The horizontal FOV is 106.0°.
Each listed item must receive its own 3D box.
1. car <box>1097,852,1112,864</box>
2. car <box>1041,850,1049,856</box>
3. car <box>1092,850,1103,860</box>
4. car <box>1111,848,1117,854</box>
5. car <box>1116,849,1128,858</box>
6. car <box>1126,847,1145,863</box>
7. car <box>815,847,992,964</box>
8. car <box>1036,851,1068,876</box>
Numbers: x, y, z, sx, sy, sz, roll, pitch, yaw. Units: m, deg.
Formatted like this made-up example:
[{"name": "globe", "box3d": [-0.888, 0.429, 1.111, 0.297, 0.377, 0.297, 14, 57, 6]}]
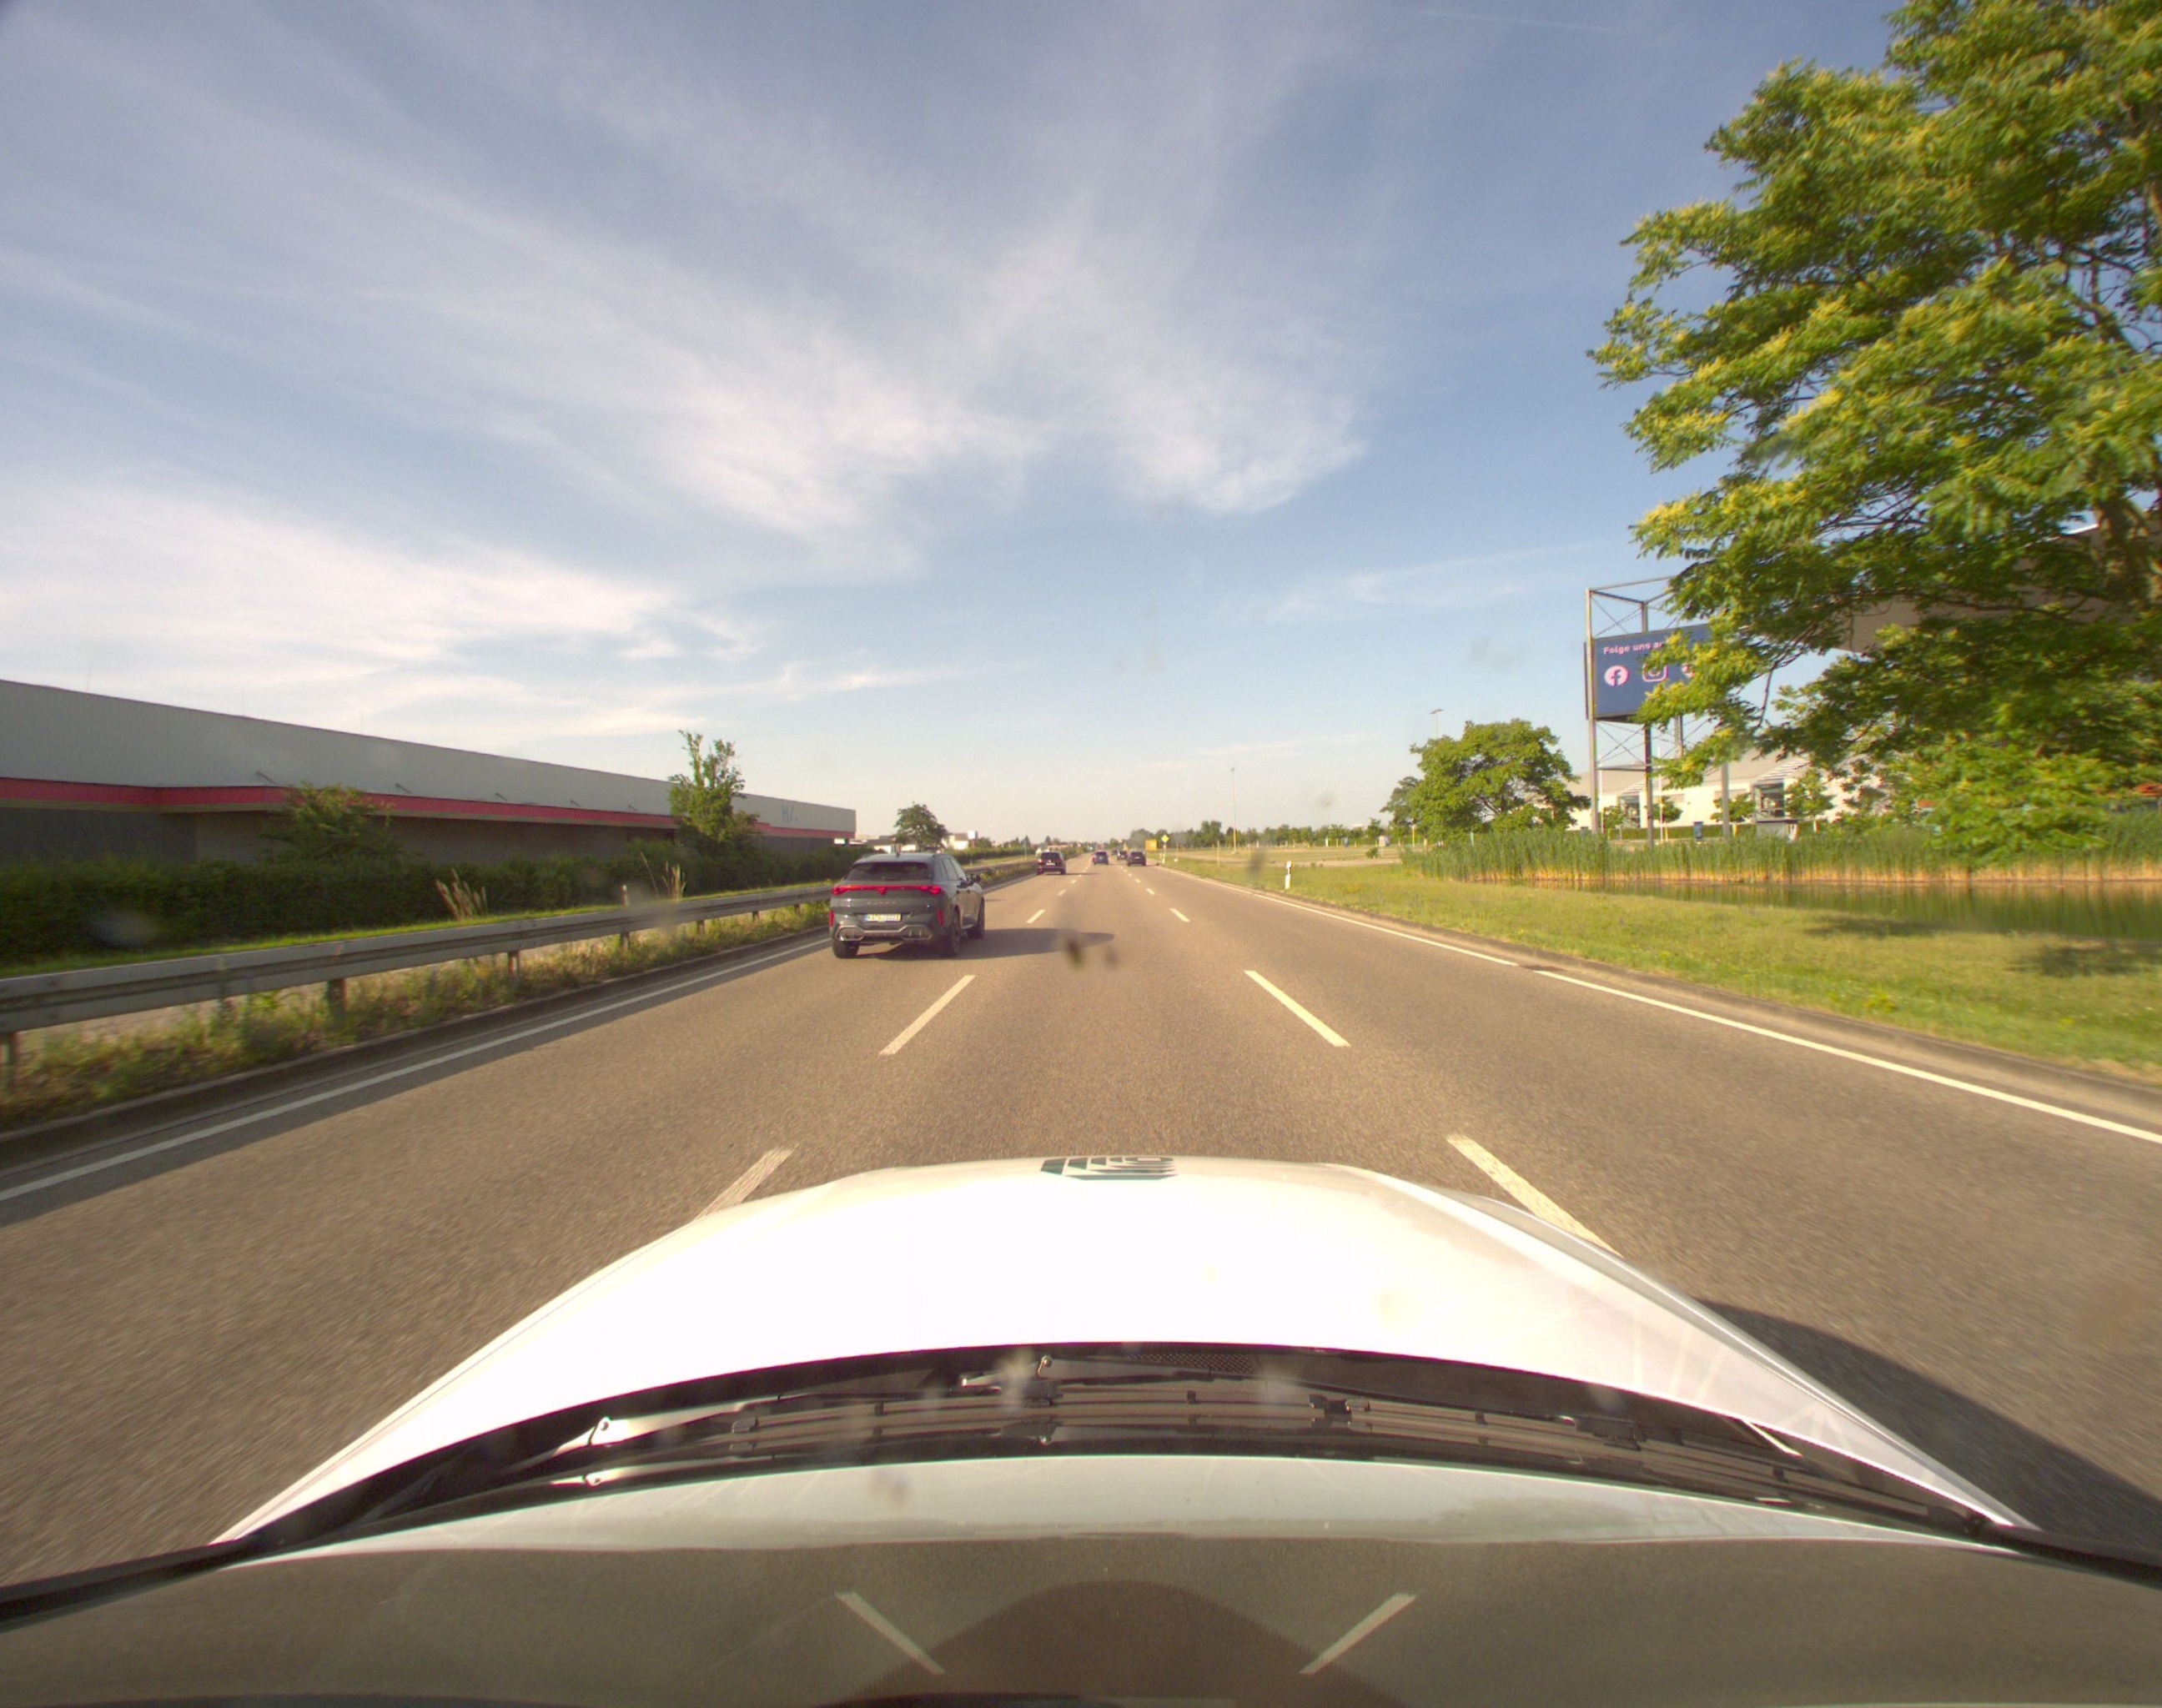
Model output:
[{"name": "car", "box3d": [2.824, 0.485, 99.115, 1.806, 1.463, 4.402, 1, 0, 2]}, {"name": "car", "box3d": [-9.107, -0.303, 207.515, 1.772, 1.424, 4.002, -2, 0, 2]}, {"name": "car", "box3d": [2.446, 0.167, 119.663, 1.641, 1.463, 3.982, 1, 0, 2]}, {"name": "car", "box3d": [8.281, -0.763, 205.750, 1.497, 1.313, 3.157, 1, 0, 2]}, {"name": "car", "box3d": [6.617, -0.043, 131.757, 1.866, 1.463, 3.982, 1, 0, 2]}, {"name": "car", "box3d": [5.902, 0.115, 88.152, 1.925, 1.680, 4.402, 1, 0, 2]}, {"name": "car", "box3d": [-2.717, 0.696, 13.546, 1.839, 1.611, 4.402, 1, 0, 2]}, {"name": "car", "box3d": [-2.027, 0.648, 58.060, 1.925, 1.680, 4.402, 1, 0, 2]}]
